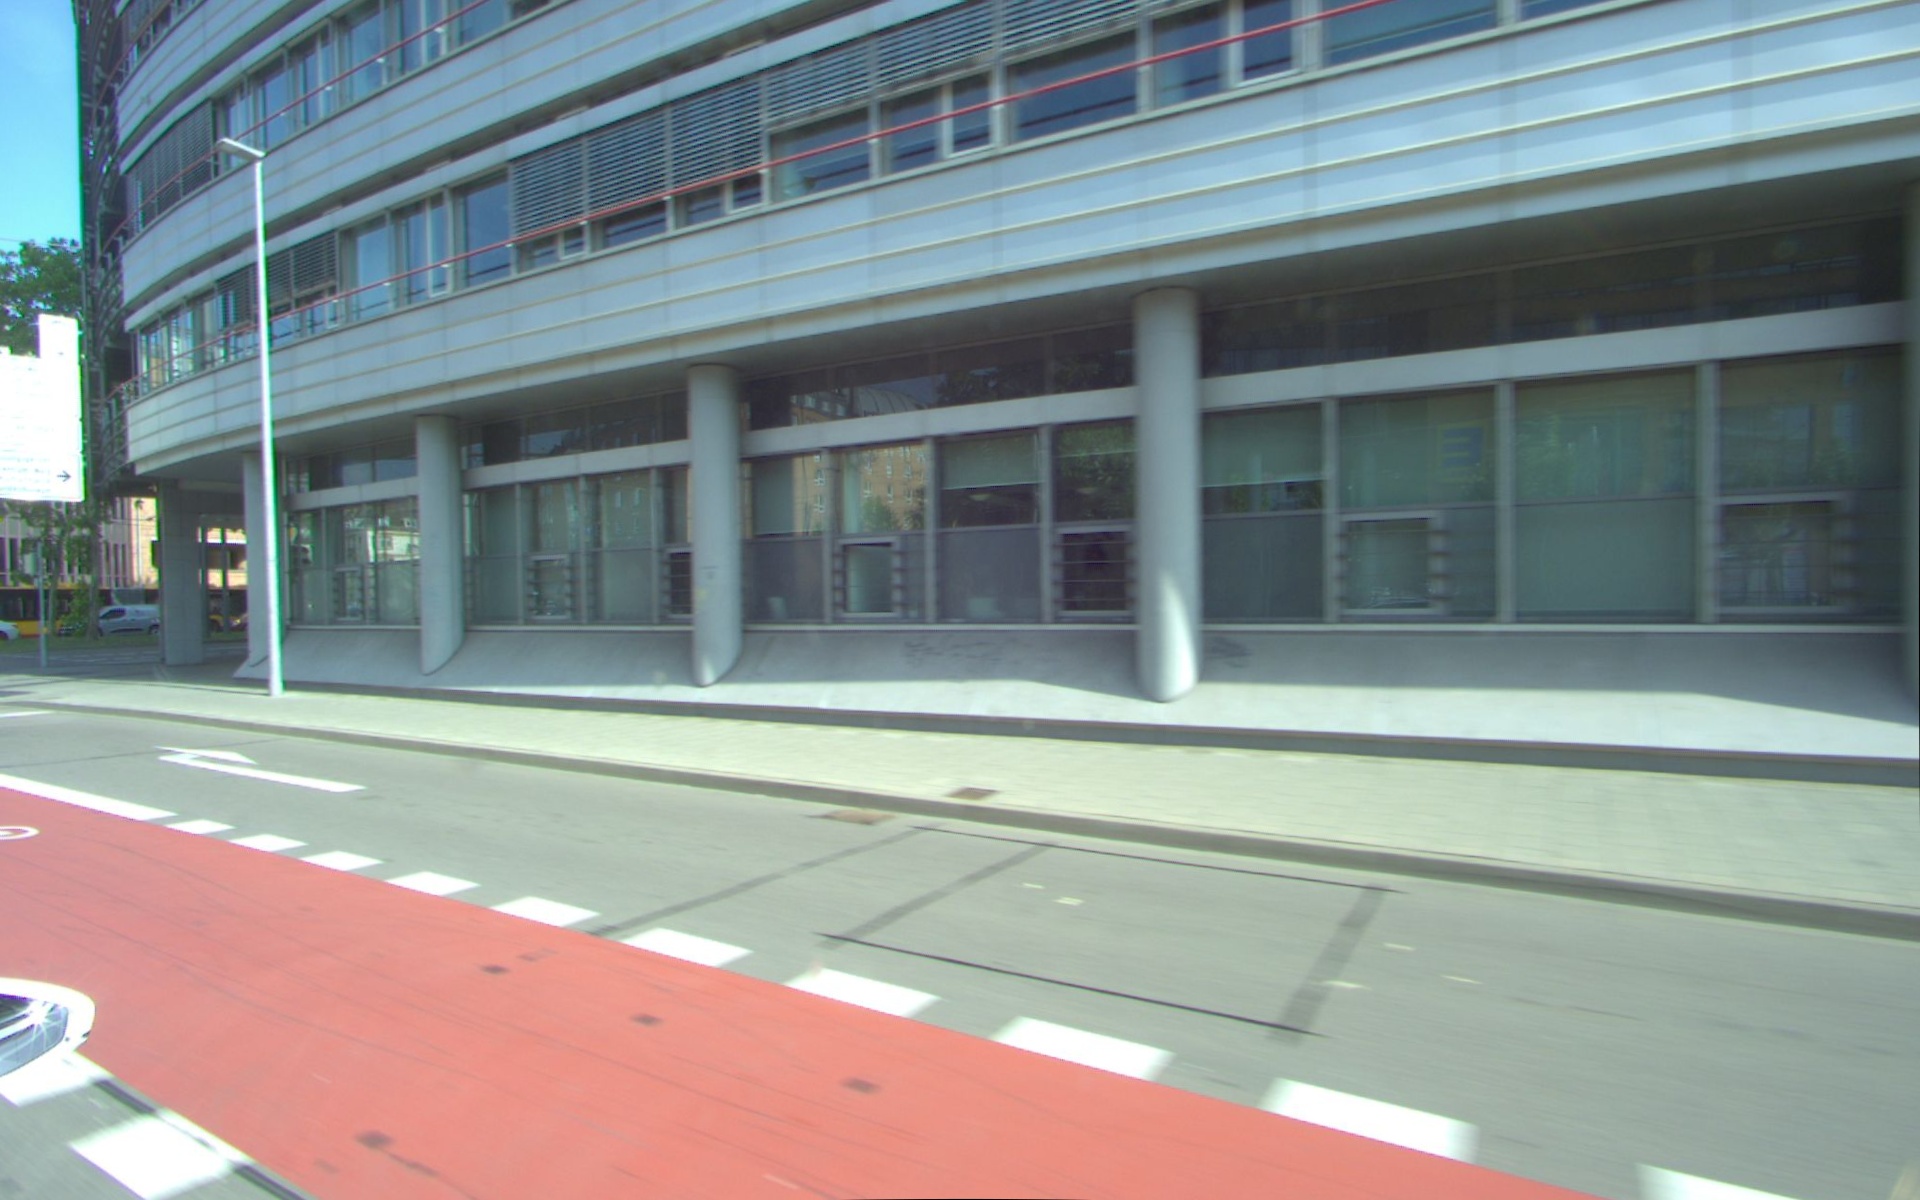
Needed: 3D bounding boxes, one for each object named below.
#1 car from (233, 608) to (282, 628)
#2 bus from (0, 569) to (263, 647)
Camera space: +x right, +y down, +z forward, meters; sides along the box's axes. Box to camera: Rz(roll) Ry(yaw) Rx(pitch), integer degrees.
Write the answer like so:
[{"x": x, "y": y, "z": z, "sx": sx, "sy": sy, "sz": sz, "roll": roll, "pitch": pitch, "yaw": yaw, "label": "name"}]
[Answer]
[{"x": -40.929, "y": 1.024, "z": 58.384, "sx": 0.712, "sy": 1.126, "sz": 2.236, "roll": -2, "pitch": 0, "yaw": 27, "label": "car"}, {"x": -47.455, "y": 0.458, "z": 53.856, "sx": 2.817, "sy": 3.860, "sz": 17.622, "roll": -2, "pitch": -1, "yaw": 22, "label": "bus"}]
